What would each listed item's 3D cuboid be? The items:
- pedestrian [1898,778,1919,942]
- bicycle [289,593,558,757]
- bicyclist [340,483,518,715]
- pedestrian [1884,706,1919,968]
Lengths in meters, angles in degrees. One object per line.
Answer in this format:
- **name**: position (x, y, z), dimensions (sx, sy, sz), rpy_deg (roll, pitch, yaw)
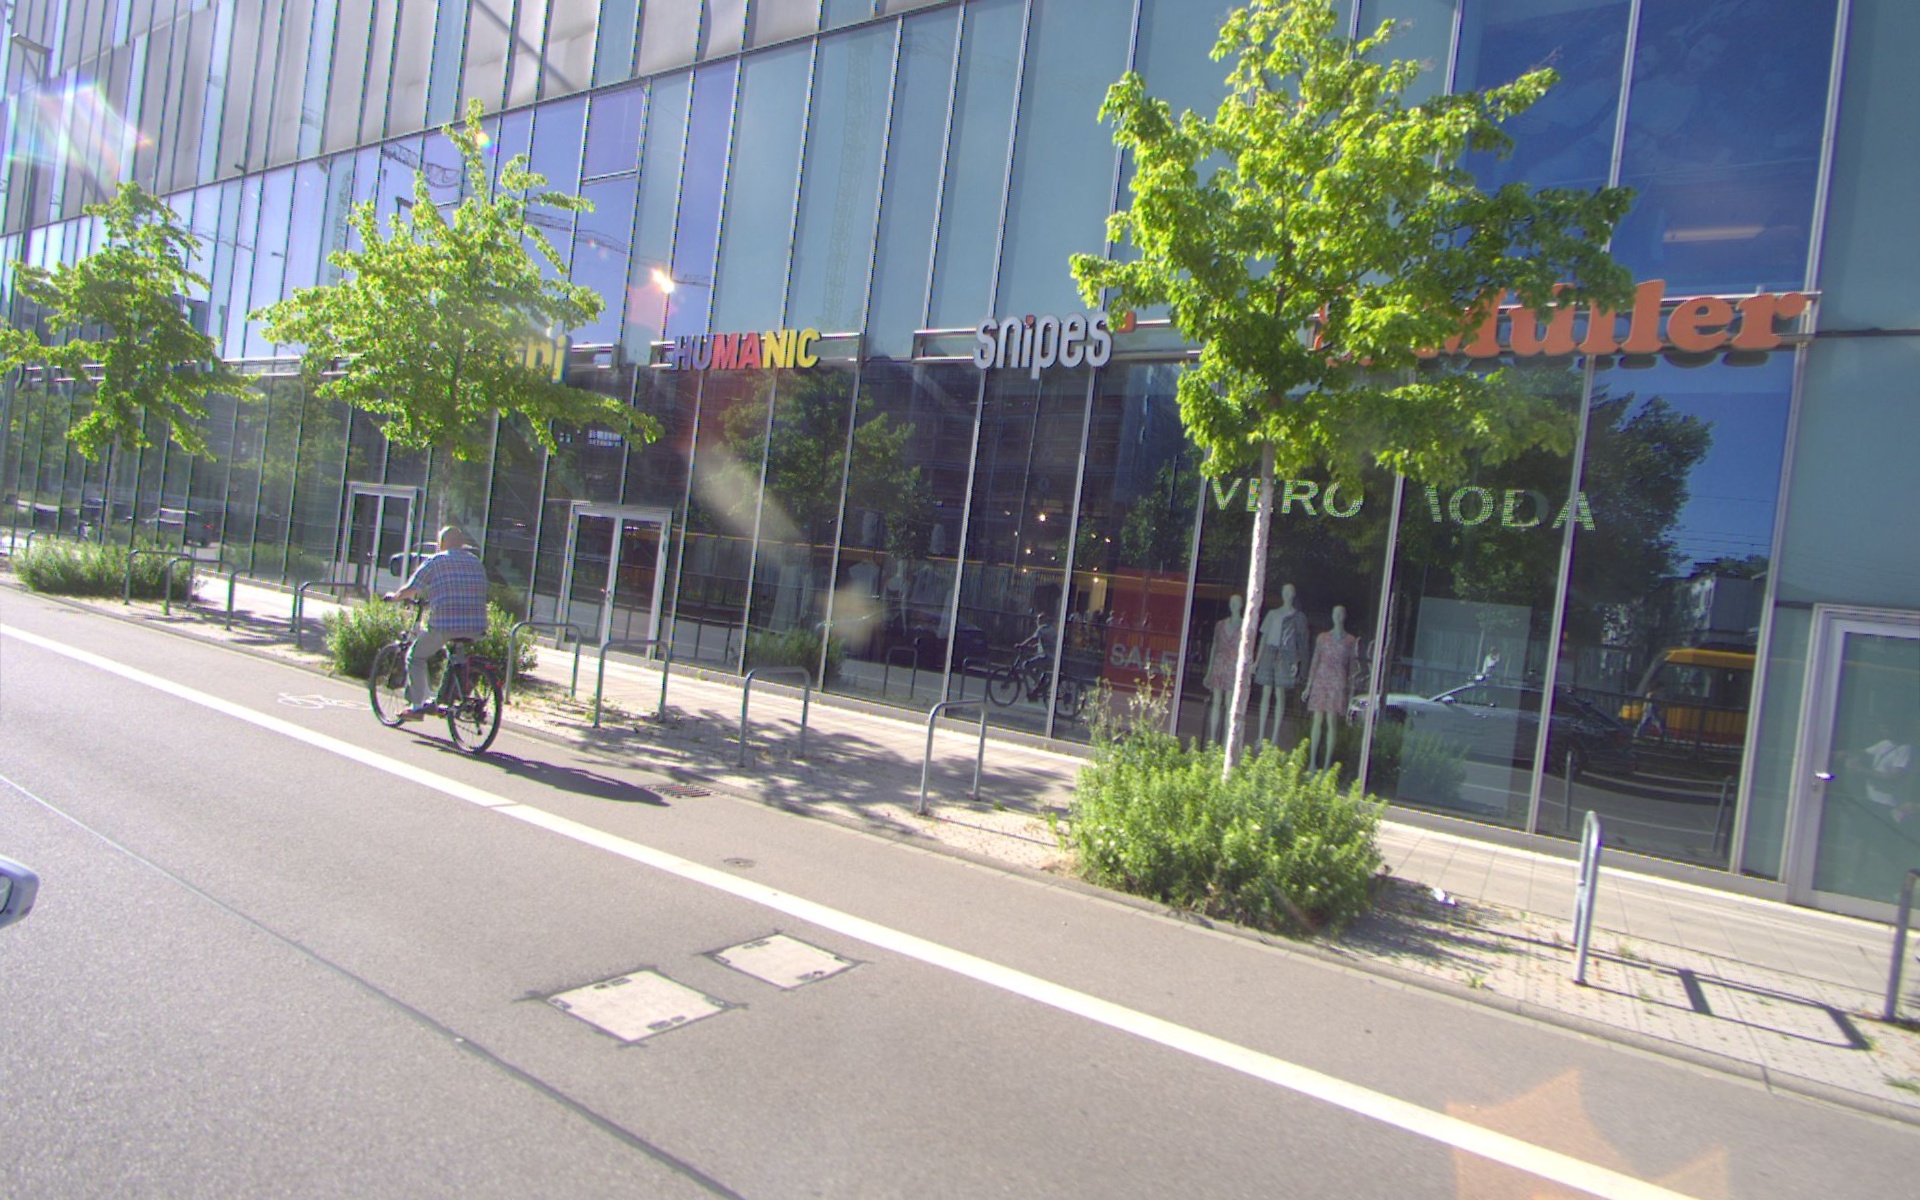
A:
- **pedestrian**: position (7.375, 1.663, 7.016), dimensions (0.884, 1.680, 0.707), rpy_deg (7, 2, 28)
- **bicycle**: position (-4.486, 0.590, 8.358), dimensions (2.293, 0.995, 0.731), rpy_deg (7, -2, 28)
- **bicyclist**: position (-4.401, -0.012, 8.347), dimensions (0.980, 1.758, 0.726), rpy_deg (7, 1, 28)
- **pedestrian**: position (6.800, 1.607, 6.488), dimensions (0.884, 1.680, 0.822), rpy_deg (7, 2, 28)
